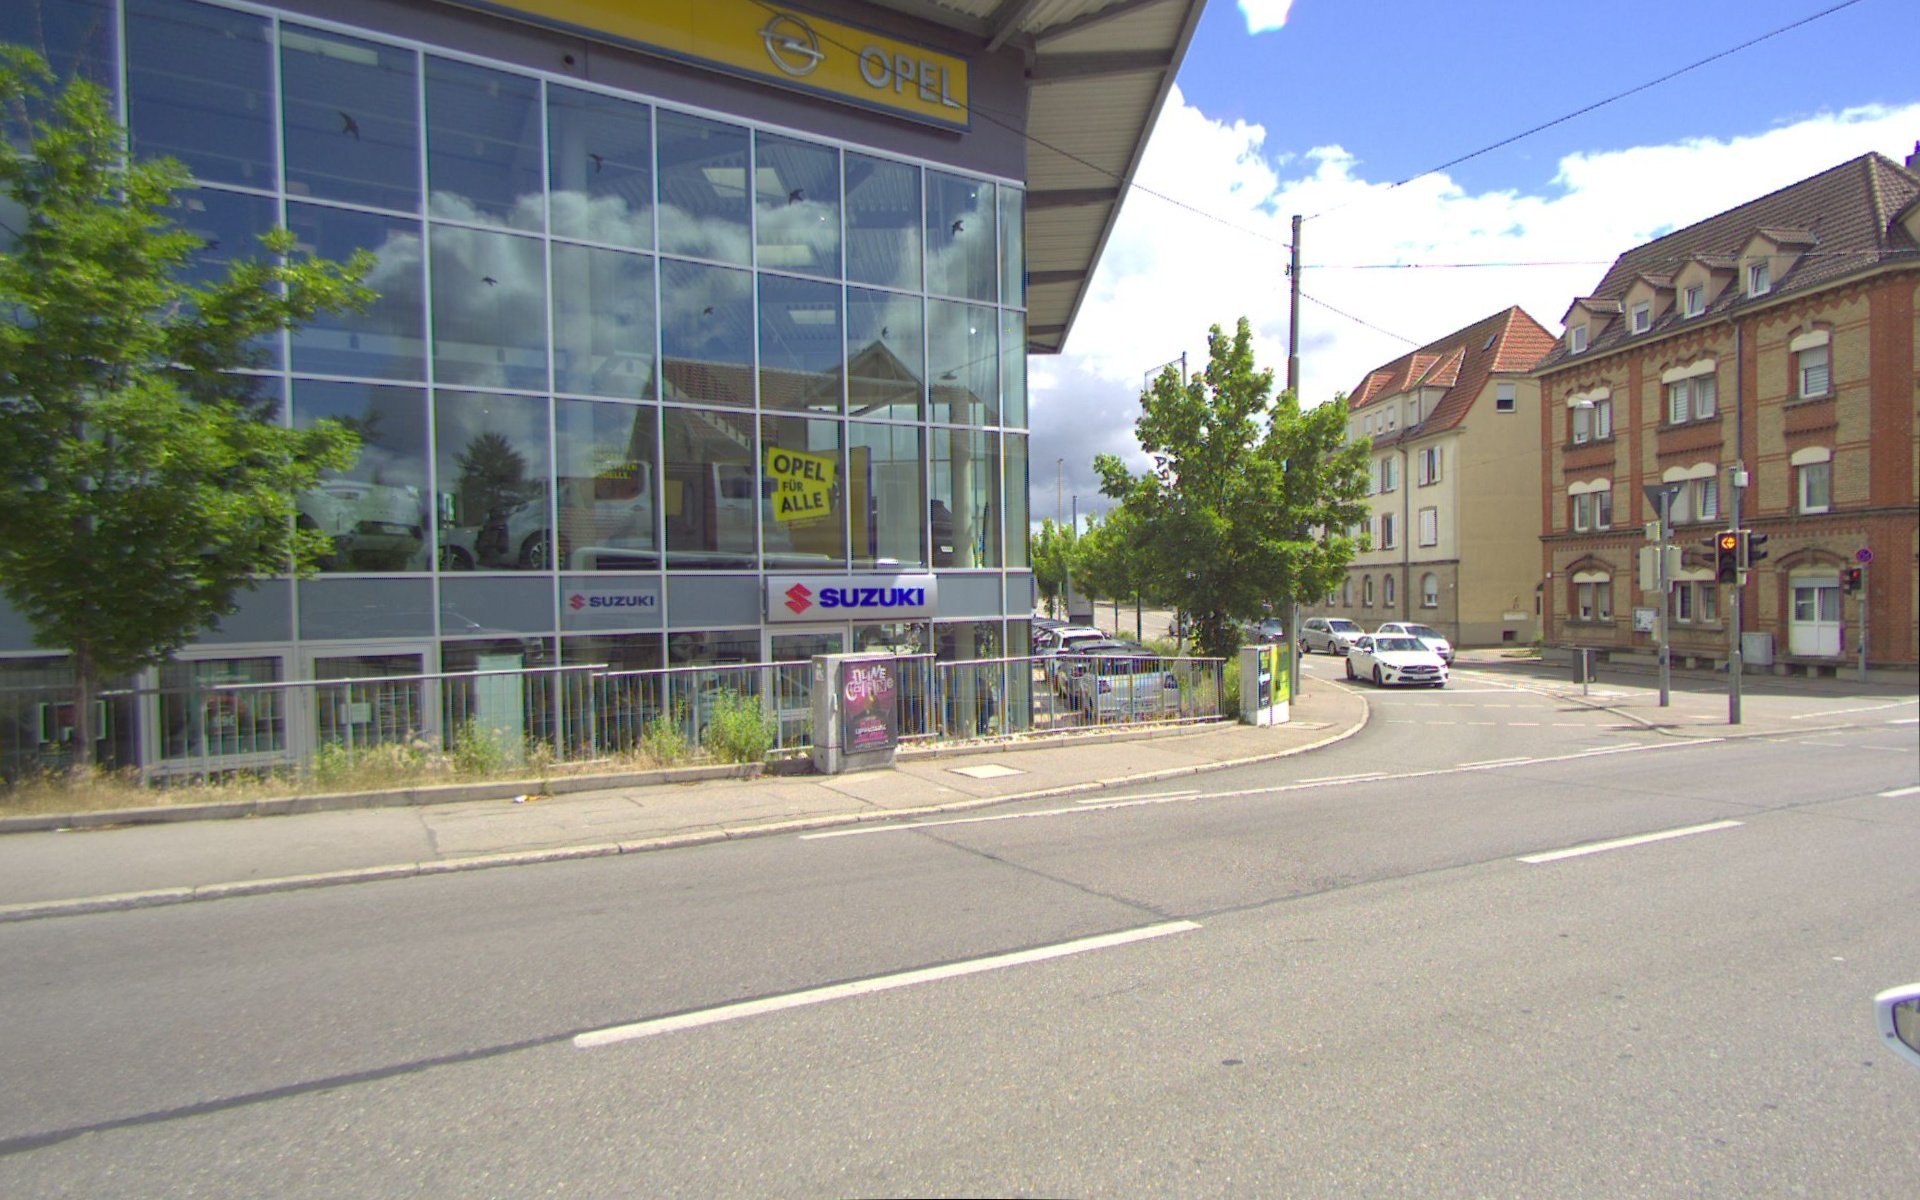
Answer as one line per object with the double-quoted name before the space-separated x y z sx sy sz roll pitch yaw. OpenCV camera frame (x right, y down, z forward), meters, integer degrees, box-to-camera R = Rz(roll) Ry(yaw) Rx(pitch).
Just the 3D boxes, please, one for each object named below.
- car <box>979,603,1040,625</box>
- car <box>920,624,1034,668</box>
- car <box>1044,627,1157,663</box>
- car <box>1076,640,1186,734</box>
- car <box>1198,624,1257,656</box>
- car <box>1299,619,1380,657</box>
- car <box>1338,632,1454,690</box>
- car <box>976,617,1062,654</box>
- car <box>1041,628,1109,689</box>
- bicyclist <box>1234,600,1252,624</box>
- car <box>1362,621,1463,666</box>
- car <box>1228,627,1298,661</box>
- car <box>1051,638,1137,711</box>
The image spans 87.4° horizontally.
"car" 3.265 0.924 66.407 3.921 1.311 1.818 1 -1 0
"car" 0.637 1.679 37.189 3.919 1.478 1.605 1 -1 15
"car" 5.162 1.638 37.205 3.921 1.202 1.818 1 -1 0
"car" 3.391 1.691 20.546 1.720 1.596 3.687 2 -1 2
"car" 14.834 2.202 56.003 1.961 1.607 4.345 1 0 -2
"car" 16.732 1.647 44.508 1.715 1.539 3.996 1 -1 -7
"car" 12.364 1.688 28.769 1.825 1.466 4.394 1 -1 6
"car" 2.644 1.590 45.863 1.974 1.599 4.476 1 -1 -26
"car" 3.276 1.637 29.089 1.487 1.596 3.414 1 -1 -2
"bicyclist" 18.636 0.801 66.132 0.581 1.519 1.069 1 -1 -21
"car" 17.058 1.613 38.083 1.670 1.517 3.995 1 -1 -7
"car" 15.329 2.190 51.014 1.963 1.539 3.996 1 -1 -7
"car" 3.226 1.757 24.695 1.487 1.543 3.792 1 -1 -2
